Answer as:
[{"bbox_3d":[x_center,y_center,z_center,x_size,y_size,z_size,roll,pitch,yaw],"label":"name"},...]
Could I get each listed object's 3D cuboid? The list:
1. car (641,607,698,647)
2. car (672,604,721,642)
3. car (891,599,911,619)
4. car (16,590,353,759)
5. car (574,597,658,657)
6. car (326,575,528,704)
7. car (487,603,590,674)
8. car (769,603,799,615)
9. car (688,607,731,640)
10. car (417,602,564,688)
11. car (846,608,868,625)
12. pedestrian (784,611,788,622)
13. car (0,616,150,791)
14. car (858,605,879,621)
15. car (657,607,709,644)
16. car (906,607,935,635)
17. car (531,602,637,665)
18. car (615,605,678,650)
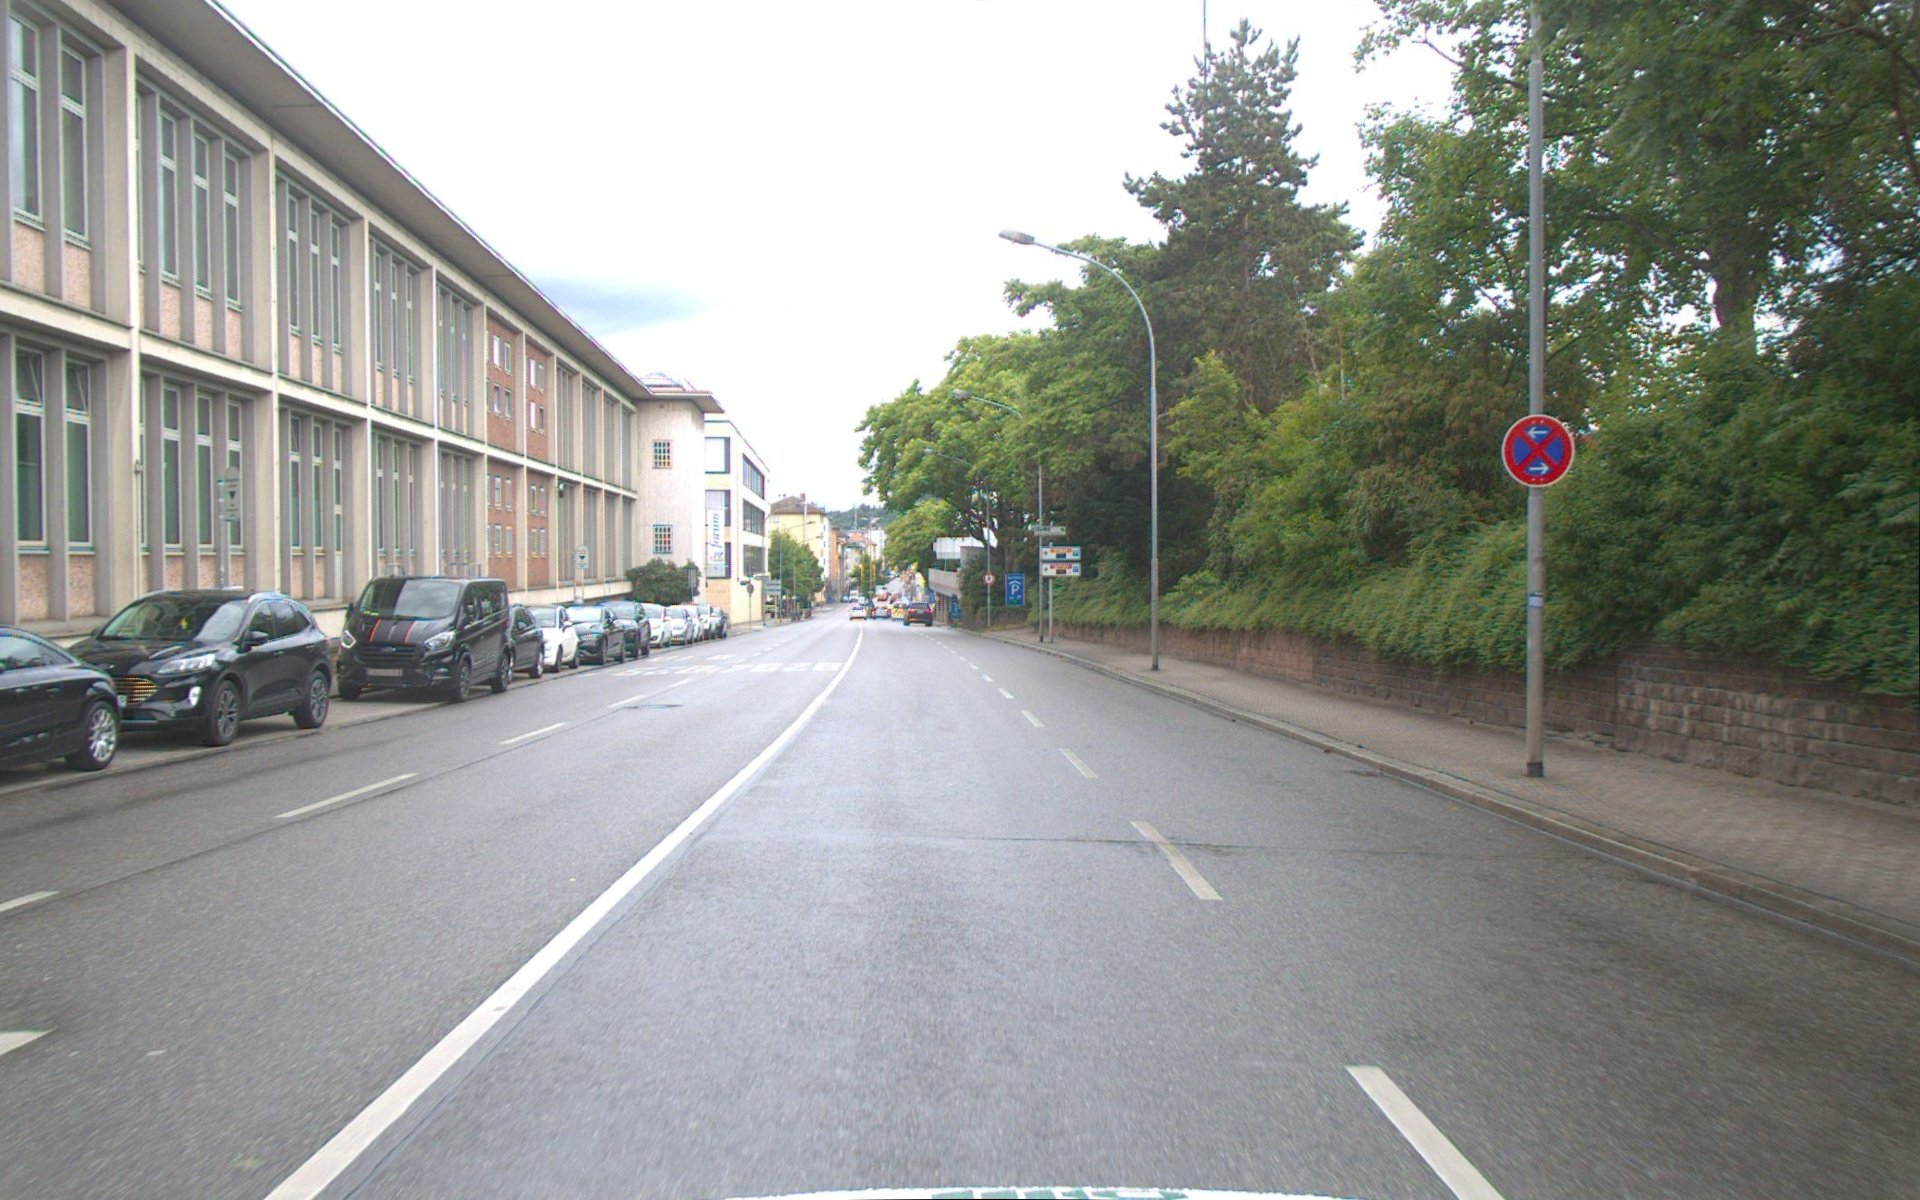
[{"bbox_3d":[-11.173,1.034,63.875,1.714,1.460,4.482,1,-1,-4],"label":"car"},{"bbox_3d":[-11.863,1.006,74.625,1.713,1.625,4.178,1,0,-4],"label":"car"},{"bbox_3d":[-5.906,0.911,164.931,1.954,1.869,3.998,-2,1,-2],"label":"car"},{"bbox_3d":[-8.739,0.744,19.143,1.760,1.705,4.603,0,0,-1],"label":"car"},{"bbox_3d":[-10.208,0.788,49.408,1.805,1.682,4.512,1,-1,-4],"label":"car"},{"bbox_3d":[-8.853,0.587,27.964,1.909,1.978,4.994,0,0,-2],"label":"car"},{"bbox_3d":[-9.674,0.860,38.168,1.534,1.510,3.551,-1,0,-2],"label":"car"},{"bbox_3d":[-21.778,1.137,204.632,3.587,1.256,1.438,-3,1,-9],"label":"car"},{"bbox_3d":[-12.050,1.129,79.804,1.714,1.506,4.177,1,0,-4],"label":"car"},{"bbox_3d":[-9.410,0.850,33.478,1.823,1.579,4.311,-1,0,-2],"label":"car"},{"bbox_3d":[-10.933,1.711,175.294,1.956,1.709,3.993,0,0,-8],"label":"car"},{"bbox_3d":[-20.545,1.930,195.142,0.444,1.301,0.454,0,0,7],"label":"pedestrian"},{"bbox_3d":[-8.544,0.860,13.808,1.511,1.377,4.110,0,0,0],"label":"car"},{"bbox_3d":[-10.208,1.444,184.466,1.956,1.709,3.993,0,0,-8],"label":"car"},{"bbox_3d":[-11.579,1.041,69.321,1.714,1.479,4.177,1,0,-4],"label":"car"},{"bbox_3d":[-3.021,1.568,124.740,2.050,1.944,4.098,-2,1,-2],"label":"car"},{"bbox_3d":[-9.763,0.821,43.307,1.779,1.510,4.908,0,0,-2],"label":"car"},{"bbox_3d":[-11.075,0.953,58.651,1.646,1.549,3.918,0,0,-3],"label":"car"}]
